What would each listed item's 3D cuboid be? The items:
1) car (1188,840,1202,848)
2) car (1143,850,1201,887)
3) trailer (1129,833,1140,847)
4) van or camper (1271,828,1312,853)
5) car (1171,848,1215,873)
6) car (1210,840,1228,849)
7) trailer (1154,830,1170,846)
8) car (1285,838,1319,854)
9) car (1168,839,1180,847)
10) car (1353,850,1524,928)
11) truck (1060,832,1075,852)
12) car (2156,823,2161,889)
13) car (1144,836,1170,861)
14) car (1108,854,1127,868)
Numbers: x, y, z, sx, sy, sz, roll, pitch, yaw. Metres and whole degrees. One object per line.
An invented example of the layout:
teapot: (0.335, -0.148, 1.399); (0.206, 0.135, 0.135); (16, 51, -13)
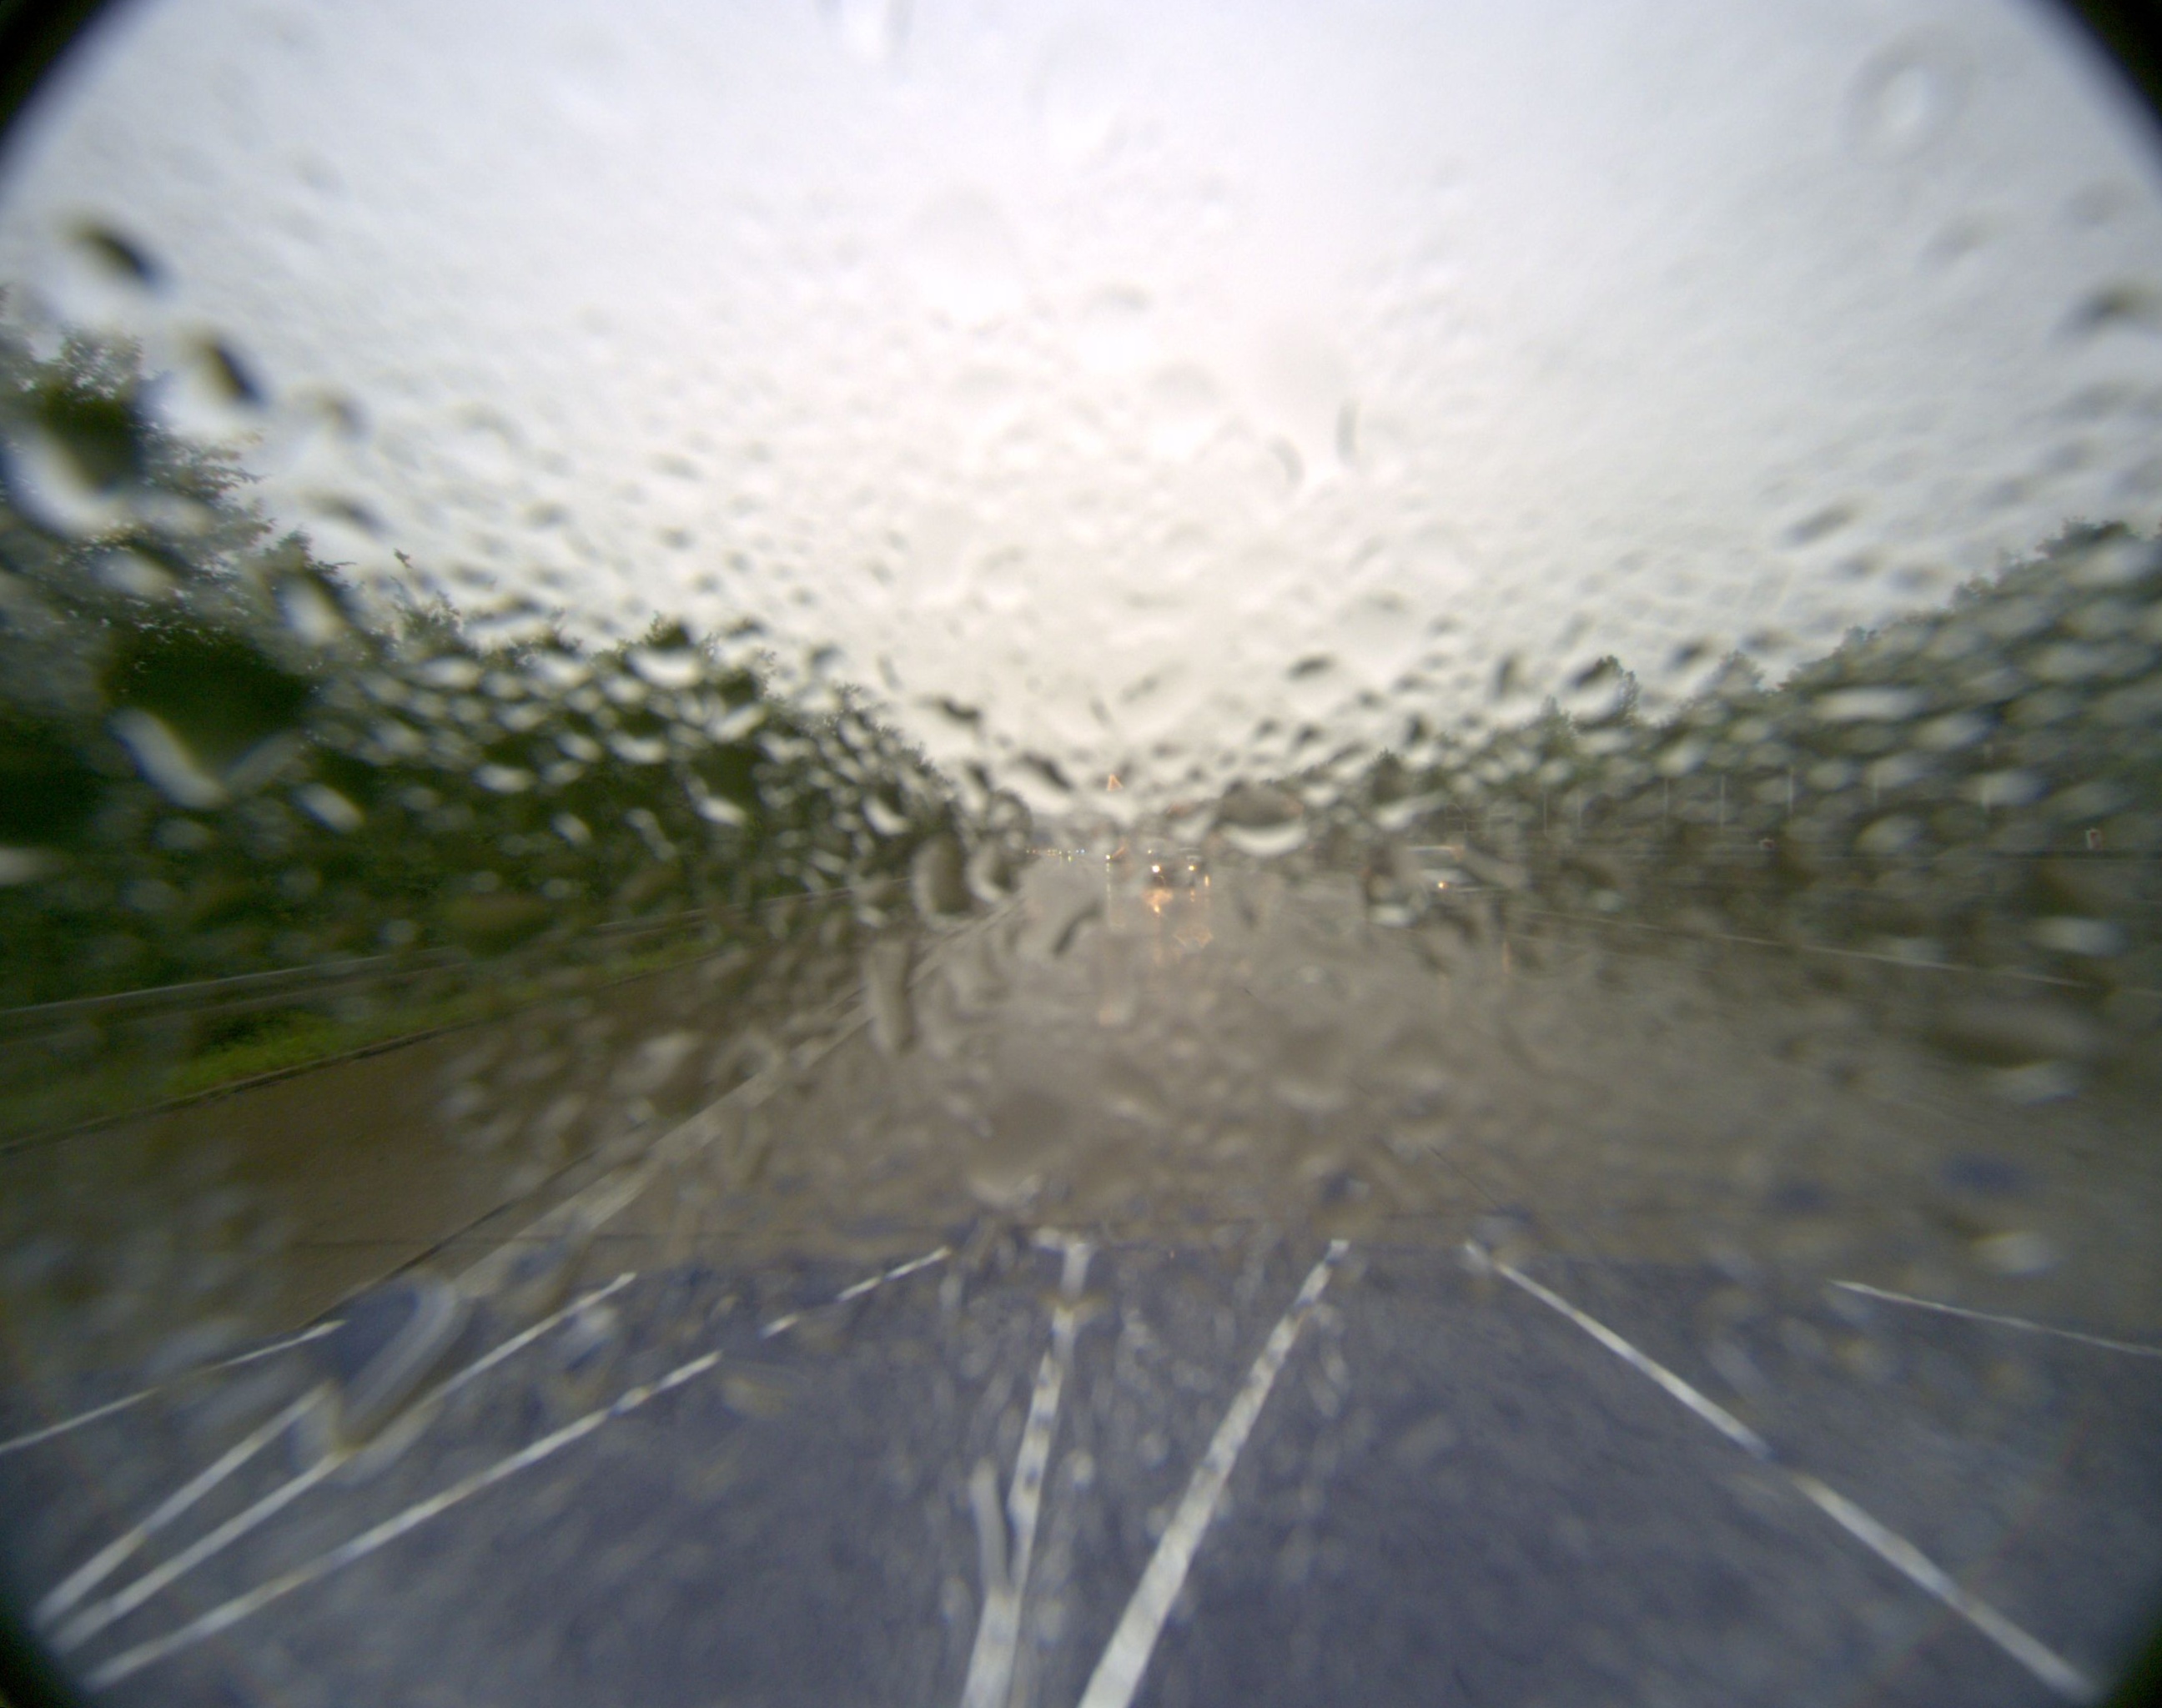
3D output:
car: (20.617, -1.757, 138.068); (1.757, 1.296, 4.343); (-3, 0, -1)
car: (3.772, 0.554, 32.311); (1.934, 1.426, 4.517); (0, 1, 0)
trailer: (17.338, -4.576, 246.085); (2.855, 4.130, 8.523); (-3, 1, -1)
van or camper: (23.828, -1.481, 86.423); (2.562, 2.702, 7.498); (-1, 1, 1)
car: (6.748, 0.338, 46.076); (1.934, 1.426, 4.517); (0, 1, -1)
car: (20.439, -1.378, 112.649); (1.757, 1.296, 4.343); (-3, 0, -1)
trailer: (20.991, -4.063, 197.222); (2.774, 3.779, 13.776); (-3, 0, 0)
car: (20.217, -0.717, 69.790); (1.757, 1.296, 4.343); (-3, 0, -1)
car: (19.408, -2.229, 158.225); (1.999, 1.674, 3.999); (-1, 1, 0)
car: (7.502, 0.644, 16.453); (1.671, 1.426, 4.350); (-1, 1, 0)
truck: (-2.937, -2.624, 173.033); (3.058, 3.994, 10.044); (0, -2, 1)
car: (24.181, 0.047, 14.247); (1.671, 1.426, 4.517); (-1, 1, 0)
car: (8.044, -0.610, 80.855); (2.046, 2.616, 6.402); (0, 1, -1)
car: (3.904, 0.774, 81.932); (1.934, 1.426, 4.517); (0, 1, 0)
